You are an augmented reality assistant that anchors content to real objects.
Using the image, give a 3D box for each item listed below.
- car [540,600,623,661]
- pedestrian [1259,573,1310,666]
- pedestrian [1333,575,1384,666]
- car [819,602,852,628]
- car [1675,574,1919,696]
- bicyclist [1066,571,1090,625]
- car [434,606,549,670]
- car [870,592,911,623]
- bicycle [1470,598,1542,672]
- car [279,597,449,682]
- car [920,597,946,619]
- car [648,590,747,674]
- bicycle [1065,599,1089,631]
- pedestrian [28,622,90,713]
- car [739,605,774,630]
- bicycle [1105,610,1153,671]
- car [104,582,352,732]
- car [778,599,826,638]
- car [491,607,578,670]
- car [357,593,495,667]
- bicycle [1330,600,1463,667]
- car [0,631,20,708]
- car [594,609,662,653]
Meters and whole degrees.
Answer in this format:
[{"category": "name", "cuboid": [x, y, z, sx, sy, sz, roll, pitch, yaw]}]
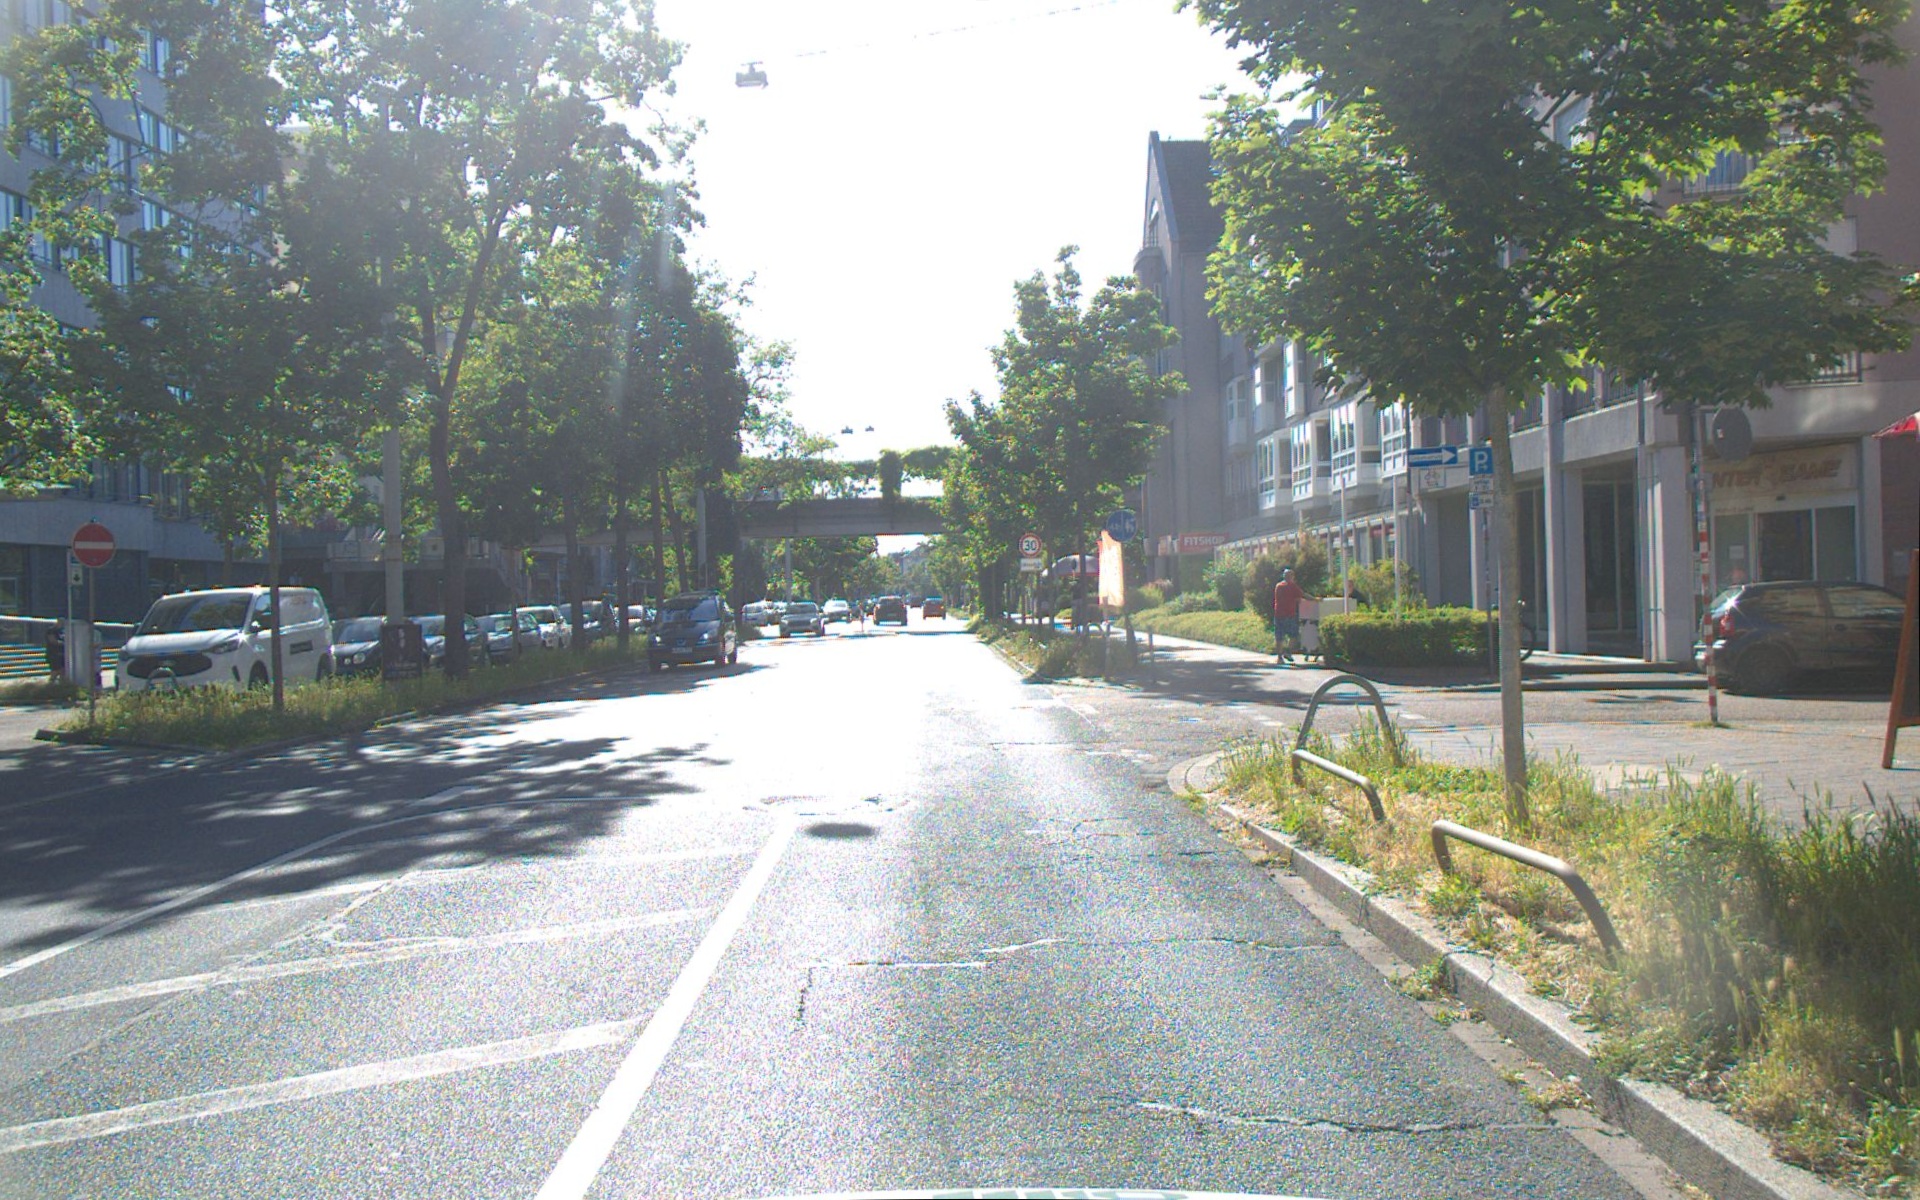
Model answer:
[{"category": "car", "cuboid": [-12.257, 0.964, 53.806, 1.818, 1.882, 4.559, 0, 0, -2]}, {"category": "pedestrian", "cuboid": [5.916, 0.363, 30.167, 0.641, 1.631, 0.602, -4, -1, -7]}, {"category": "pedestrian", "cuboid": [7.385, 0.383, 30.660, 0.641, 1.631, 0.602, -4, -1, -7]}, {"category": "car", "cuboid": [-7.852, 0.931, 104.646, 1.819, 1.465, 4.316, -3, 0, -2]}, {"category": "car", "cuboid": [11.798, 0.446, 22.023, 3.860, 1.549, 1.863, 0, 0, 12]}, {"category": "bicyclist", "cuboid": [3.875, -0.061, 54.333, 0.654, 1.725, 0.888, 0, -1, -4]}, {"category": "car", "cuboid": [-12.125, 0.954, 43.058, 1.818, 1.549, 4.063, 0, 0, 0]}, {"category": "car", "cuboid": [-3.874, 0.421, 91.156, 1.947, 1.628, 4.134, -1, 0, -7]}, {"category": "bicycle", "cuboid": [8.947, 0.556, 27.188, 0.670, 1.045, 2.205, -2, 2, 7]}, {"category": "car", "cuboid": [-11.598, 0.731, 32.493, 1.745, 1.549, 4.319, 0, 0, 0]}, {"category": "car", "cuboid": [-1.926, 0.563, 120.271, 1.818, 1.549, 4.318, 0, 0, 0]}, {"category": "car", "cuboid": [-6.407, 0.749, 40.802, 1.819, 1.857, 4.607, -3, 0, -3]}, {"category": "bicycle", "cuboid": [3.841, 0.498, 54.358, 0.577, 1.045, 1.859, -1, -1, -2]}, {"category": "pedestrian", "cuboid": [-20.555, 1.525, 37.744, 0.818, 2.049, 1.007, 0, -1, -1]}, {"category": "car", "cuboid": [-12.936, 1.125, 105.245, 1.818, 1.549, 4.075, 0, 0, -2]}, {"category": "bicycle", "cuboid": [3.214, 0.751, 31.258, 0.578, 1.084, 2.024, -1, 0, 15]}, {"category": "car", "cuboid": [-11.801, 0.850, 27.119, 1.942, 2.112, 5.192, -3, 0, -4]}, {"category": "car", "cuboid": [-7.136, 0.809, 74.980, 1.818, 1.595, 4.713, -3, 0, -2]}, {"category": "car", "cuboid": [-12.293, 1.064, 48.062, 1.820, 1.713, 4.658, 0, 0, -7]}, {"category": "car", "cuboid": [-11.979, 0.642, 37.380, 1.818, 1.549, 4.317, 0, 0, -2]}, {"category": "bicycle", "cuboid": [7.721, 0.585, 29.305, 2.151, 1.045, 0.687, -3, 2, 0]}, {"category": "car", "cuboid": [-21.515, 1.428, 33.150, 4.219, 1.549, 1.860, 0, 0, -4]}, {"category": "car", "cuboid": [-12.378, 1.132, 61.877, 1.818, 1.595, 3.871, 0, 0, -1]}]
